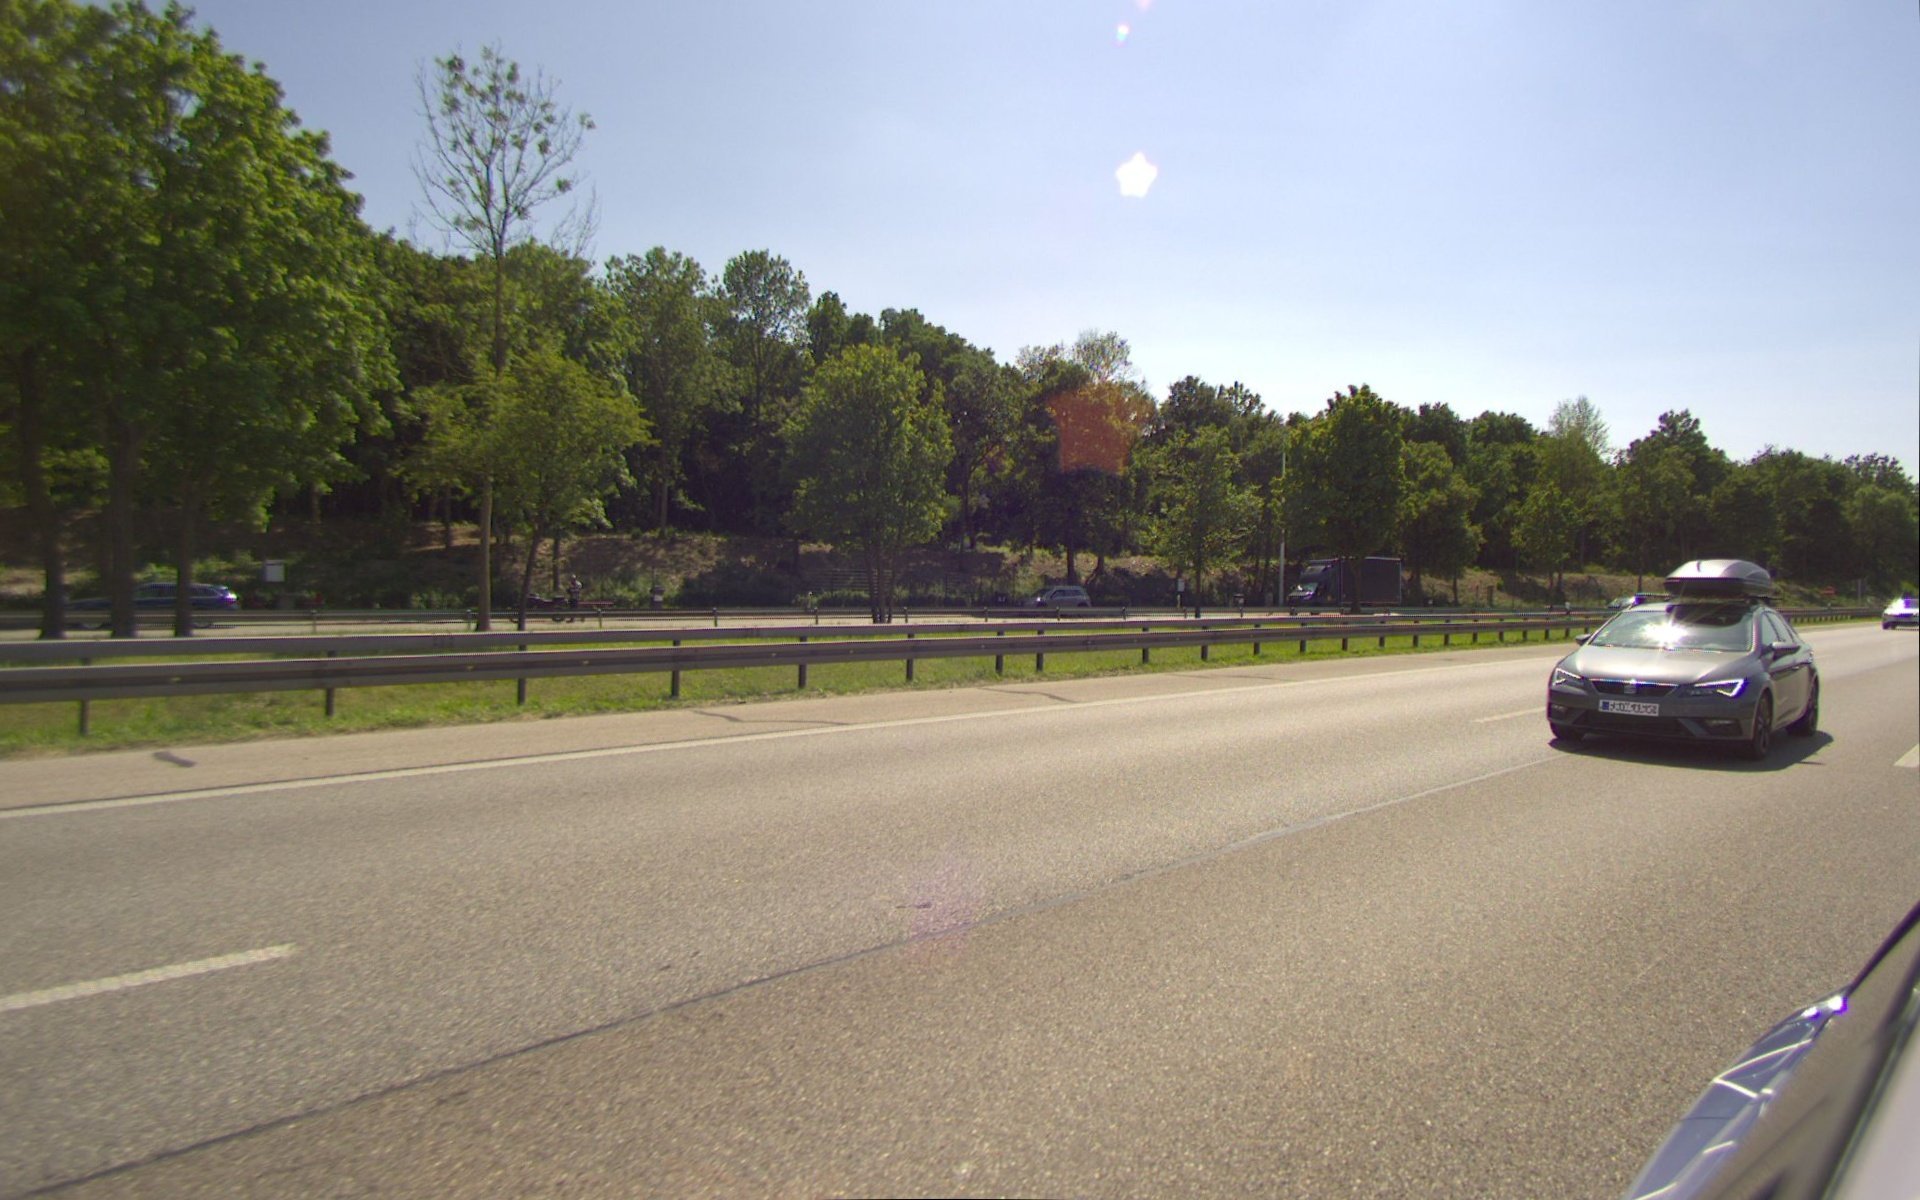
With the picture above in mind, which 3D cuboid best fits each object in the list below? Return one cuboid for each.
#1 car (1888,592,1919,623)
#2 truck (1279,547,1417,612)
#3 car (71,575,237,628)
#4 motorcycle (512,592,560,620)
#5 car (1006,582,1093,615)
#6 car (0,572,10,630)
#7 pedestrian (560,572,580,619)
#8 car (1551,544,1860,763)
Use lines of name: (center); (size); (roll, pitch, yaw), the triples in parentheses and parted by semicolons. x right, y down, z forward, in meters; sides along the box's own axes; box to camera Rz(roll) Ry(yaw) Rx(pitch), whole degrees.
car: (50.500, 0.391, 53.303); (3.963, 1.588, 1.847); (0, 0, -39)
truck: (25.431, -1.298, 66.181); (9.162, 3.996, 3.300); (0, 1, -29)
car: (-25.447, 0.025, 32.154); (3.921, 1.593, 2.002); (0, 1, -32)
motorcycle: (-16.524, 0.221, 39.423); (1.641, 1.043, 0.560); (0, 1, -35)
car: (4.791, -0.100, 54.052); (4.233, 1.671, 2.002); (0, 1, -32)
car: (-29.965, 0.032, 28.476); (4.568, 1.696, 1.660); (-1, 1, -40)
pedestrian: (-15.194, -0.166, 39.428); (0.629, 1.804, 0.802); (0, 1, -27)
car: (8.215, 0.432, 10.966); (4.743, 1.899, 1.668); (0, 2, -41)
